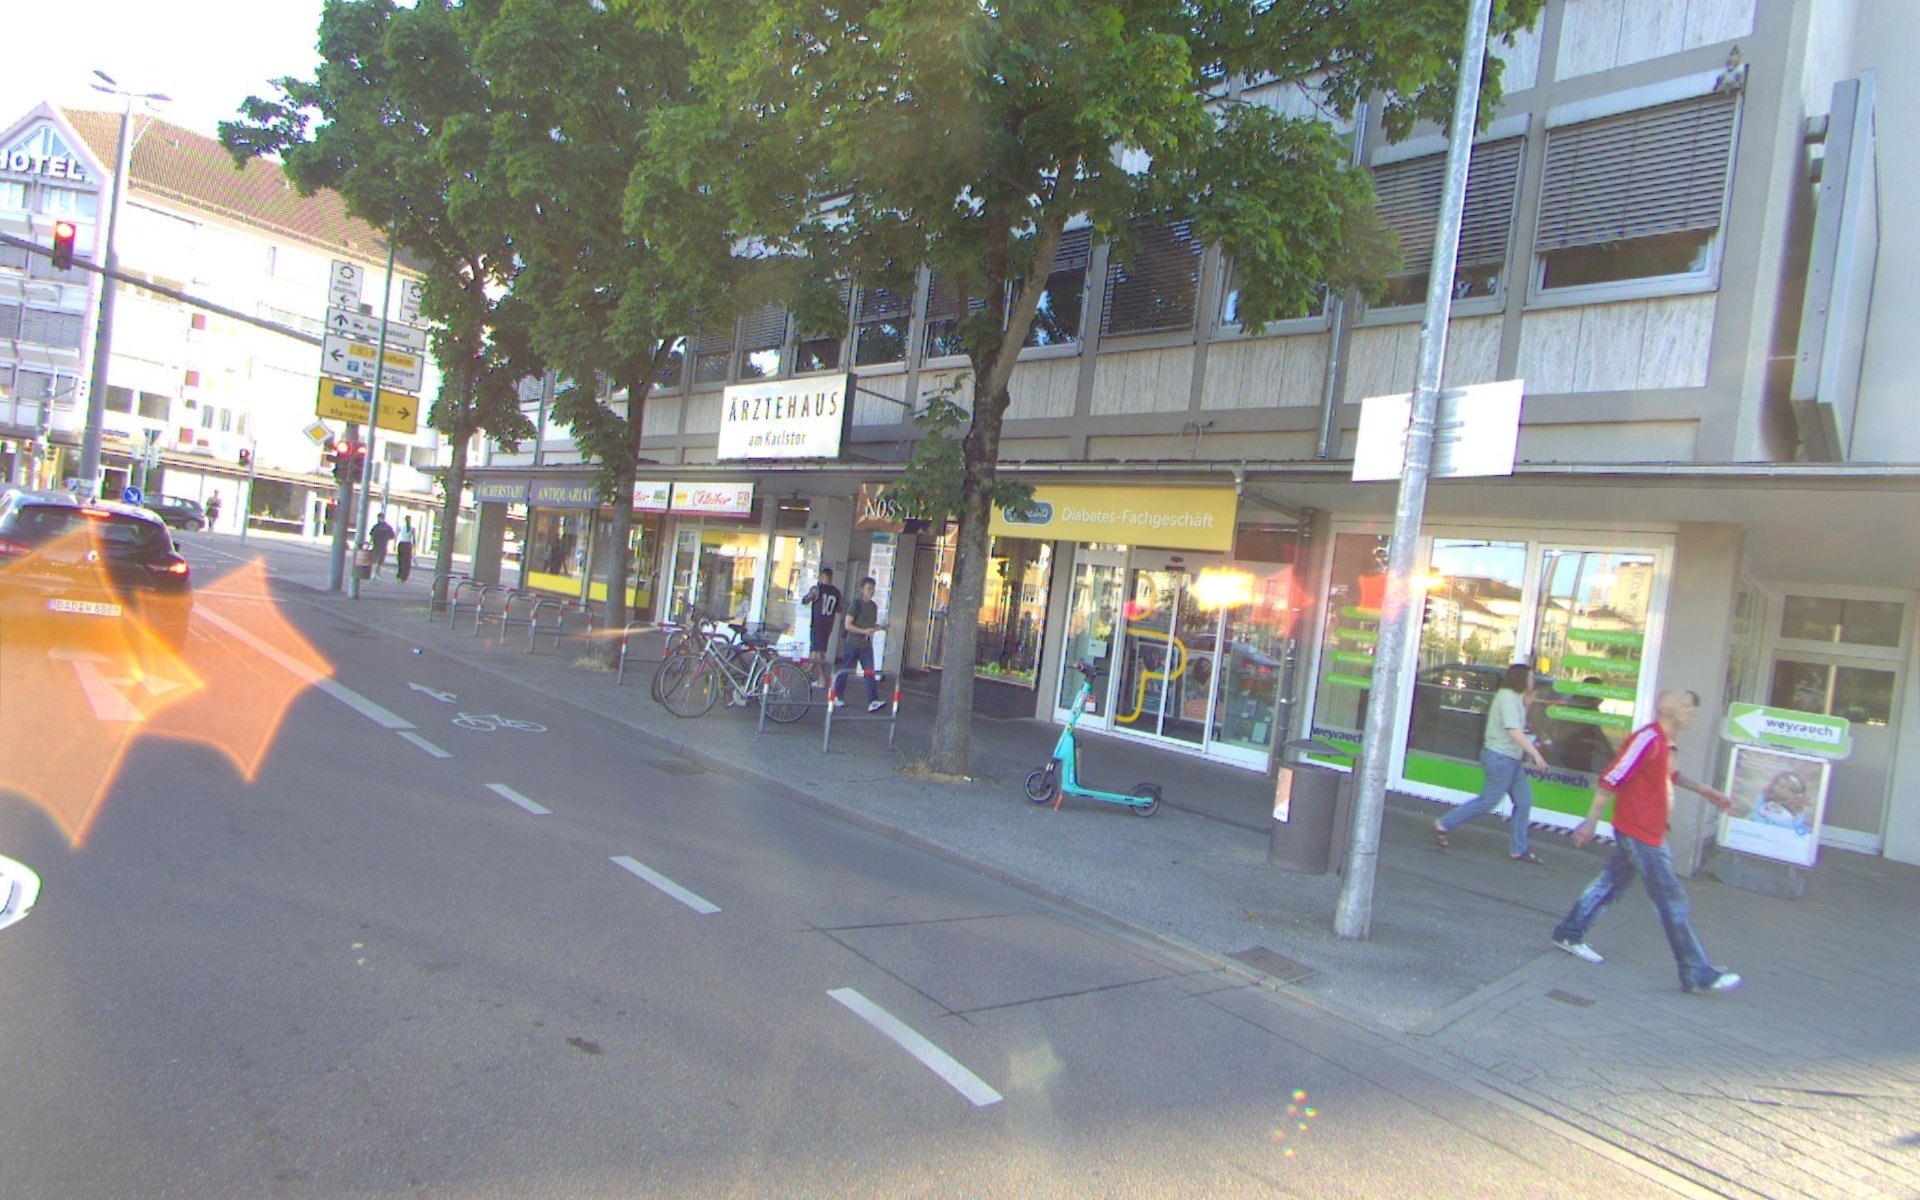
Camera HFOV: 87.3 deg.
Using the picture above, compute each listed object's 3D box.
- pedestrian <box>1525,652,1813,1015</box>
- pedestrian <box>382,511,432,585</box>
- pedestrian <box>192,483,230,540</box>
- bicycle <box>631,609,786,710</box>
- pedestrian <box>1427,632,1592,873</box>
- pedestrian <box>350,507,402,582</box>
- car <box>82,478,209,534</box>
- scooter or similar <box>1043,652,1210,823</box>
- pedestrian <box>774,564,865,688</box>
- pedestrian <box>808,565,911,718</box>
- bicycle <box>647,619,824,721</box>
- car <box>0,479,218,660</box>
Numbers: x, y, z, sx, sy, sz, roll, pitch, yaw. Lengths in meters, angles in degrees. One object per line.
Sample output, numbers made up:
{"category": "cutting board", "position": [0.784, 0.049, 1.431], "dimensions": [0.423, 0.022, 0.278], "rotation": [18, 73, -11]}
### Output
{"category": "pedestrian", "position": [3.932, 1.233, 5.701], "dimensions": [1.030, 1.704, 0.826], "rotation": [8, -1, 27]}
{"category": "pedestrian", "position": [-15.008, -1.393, 27.309], "dimensions": [0.717, 1.851, 0.995], "rotation": [8, -1, -13]}
{"category": "pedestrian", "position": [-25.347, -2.996, 34.028], "dimensions": [0.745, 1.799, 0.790], "rotation": [9, -1, -44]}
{"category": "bicycle", "position": [-2.905, 0.712, 11.748], "dimensions": [1.652, 0.985, 0.382], "rotation": [10, -1, -40]}
{"category": "pedestrian", "position": [4.605, 1.249, 8.511], "dimensions": [0.955, 1.799, 0.749], "rotation": [8, -1, 25]}
{"category": "pedestrian", "position": [-15.757, -1.477, 27.167], "dimensions": [0.717, 1.851, 0.995], "rotation": [8, -1, -12]}
{"category": "car", "position": [-38.040, -4.376, 47.060], "dimensions": [1.972, 1.715, 4.232], "rotation": [8, -2, 41]}
{"category": "scooter or similar", "position": [1.357, 1.118, 8.263], "dimensions": [1.198, 1.232, 0.294], "rotation": [7, 0, -1]}
{"category": "pedestrian", "position": [-2.096, 0.386, 15.006], "dimensions": [0.883, 1.703, 0.745], "rotation": [8, -1, 45]}
{"category": "pedestrian", "position": [-1.281, 0.526, 12.819], "dimensions": [0.745, 1.799, 0.790], "rotation": [9, -1, -44]}
{"category": "bicycle", "position": [-2.419, 0.788, 10.993], "dimensions": [1.812, 0.901, 0.410], "rotation": [10, -1, -40]}
{"category": "car", "position": [-9.434, -0.422, 10.676], "dimensions": [3.947, 1.457, 1.762], "rotation": [8, -1, 44]}
